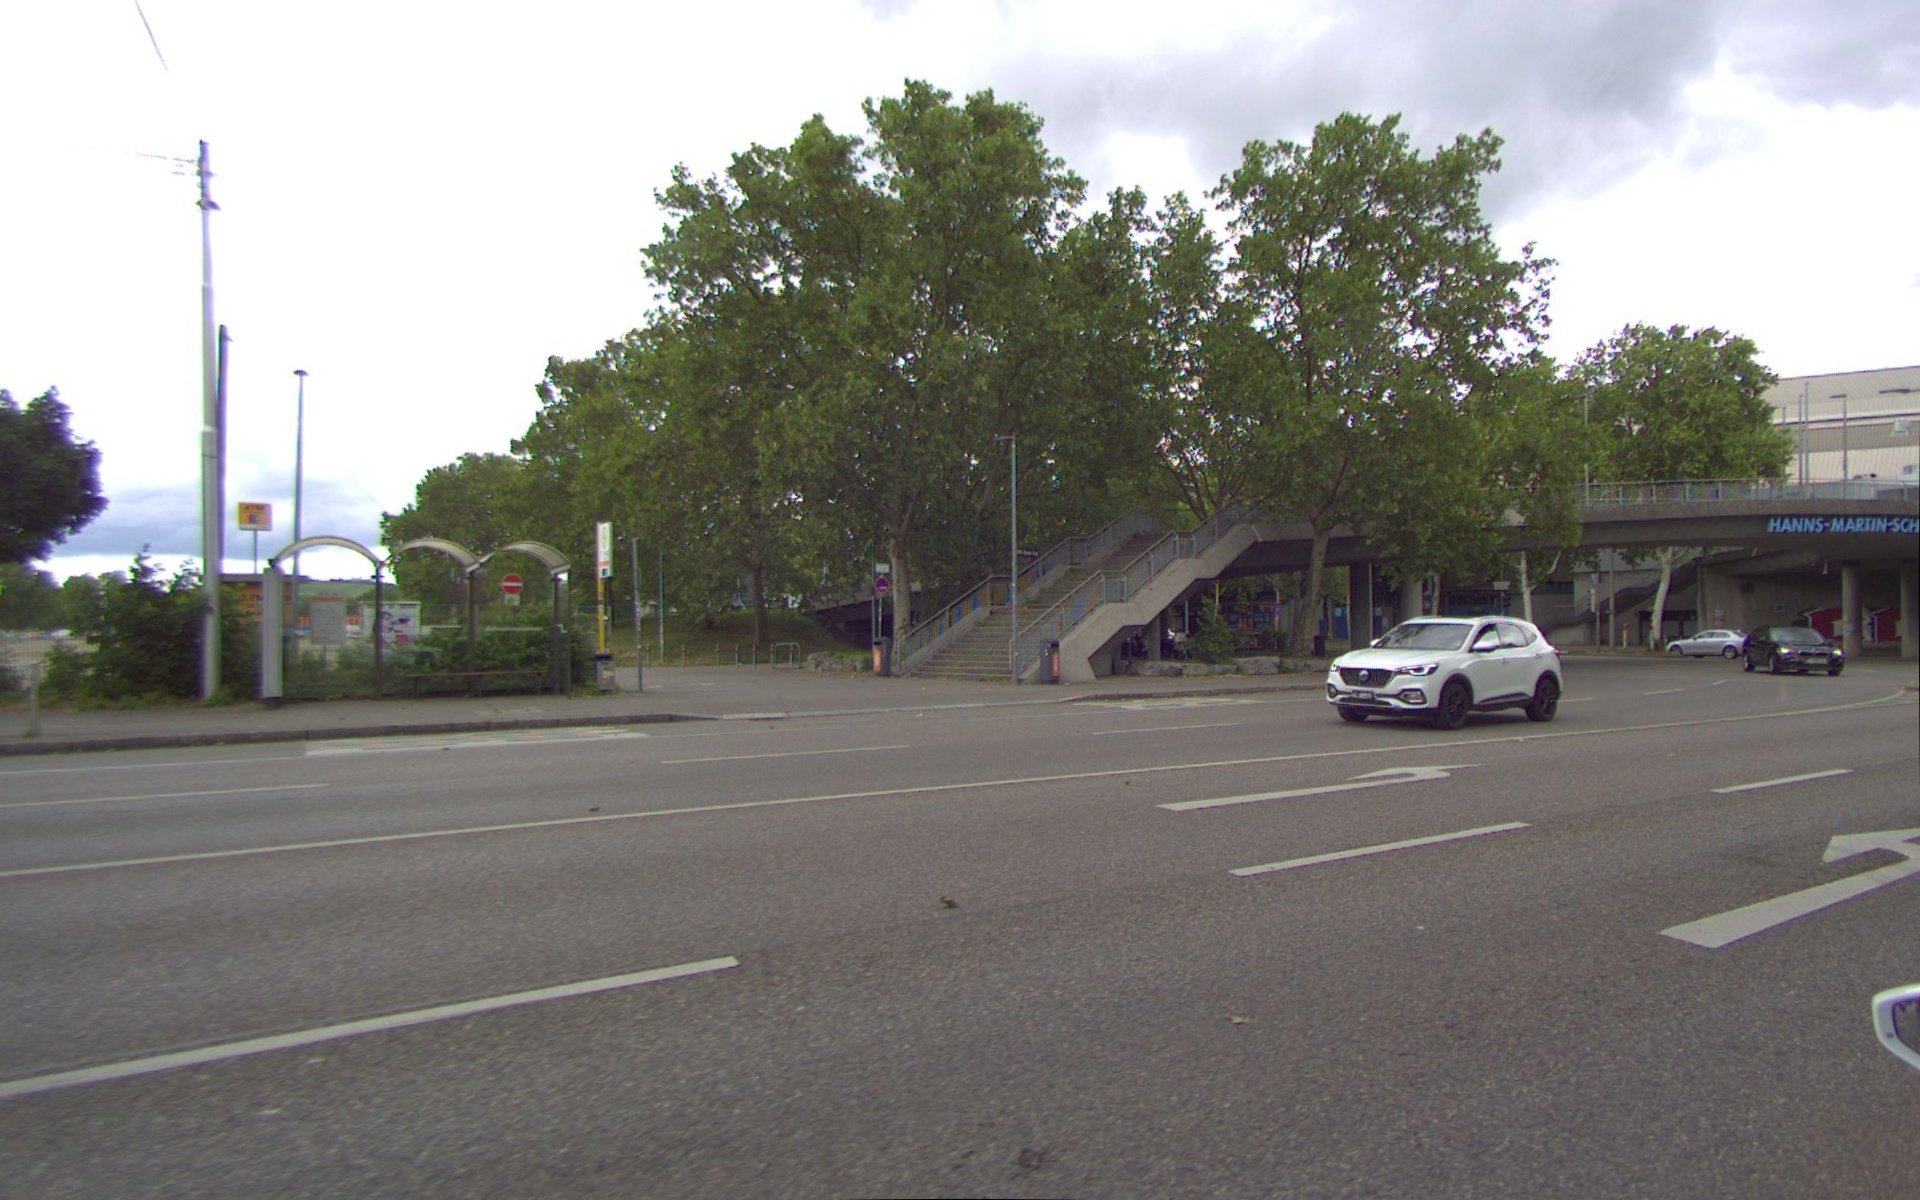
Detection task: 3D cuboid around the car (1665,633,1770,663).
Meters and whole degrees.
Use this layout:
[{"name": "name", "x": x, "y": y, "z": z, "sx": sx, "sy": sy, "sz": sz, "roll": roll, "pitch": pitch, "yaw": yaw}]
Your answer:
[{"name": "car", "x": 39.271, "y": 2.453, "z": 52.199, "sx": 1.968, "sy": 1.437, "sz": 3.986, "roll": 1, "pitch": -1, "yaw": -17}]

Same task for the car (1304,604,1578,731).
[{"name": "car", "x": 7.764, "y": 1.034, "z": 16.095, "sx": 4.548, "sy": 1.767, "sz": 1.981, "roll": 2, "pitch": -3, "yaw": -35}]

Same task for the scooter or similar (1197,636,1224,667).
[{"name": "scooter or similar", "x": 11.146, "y": 2.289, "z": 44.698, "sx": 1.214, "sy": 1.335, "sz": 0.414, "roll": 4, "pitch": -4, "yaw": -32}]

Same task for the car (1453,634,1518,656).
[{"name": "car", "x": 33.921, "y": 2.910, "z": 64.911, "sx": 1.597, "sy": 1.330, "sz": 3.369, "roll": 2, "pitch": -1, "yaw": -30}]

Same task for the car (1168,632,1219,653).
[{"name": "car", "x": 20.201, "y": 3.677, "z": 86.918, "sx": 1.981, "sy": 1.682, "sz": 3.958, "roll": 2, "pitch": -1, "yaw": -37}]

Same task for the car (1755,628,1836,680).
[{"name": "car", "x": 28.318, "y": 1.817, "z": 34.151, "sx": 1.746, "sy": 1.627, "sz": 4.413, "roll": -2, "pitch": -3, "yaw": 36}]

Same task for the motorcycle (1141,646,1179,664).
[{"name": "motorcycle", "x": 9.393, "y": 2.577, "z": 47.136, "sx": 1.714, "sy": 0.862, "sz": 0.646, "roll": 1, "pitch": -2, "yaw": -26}]
